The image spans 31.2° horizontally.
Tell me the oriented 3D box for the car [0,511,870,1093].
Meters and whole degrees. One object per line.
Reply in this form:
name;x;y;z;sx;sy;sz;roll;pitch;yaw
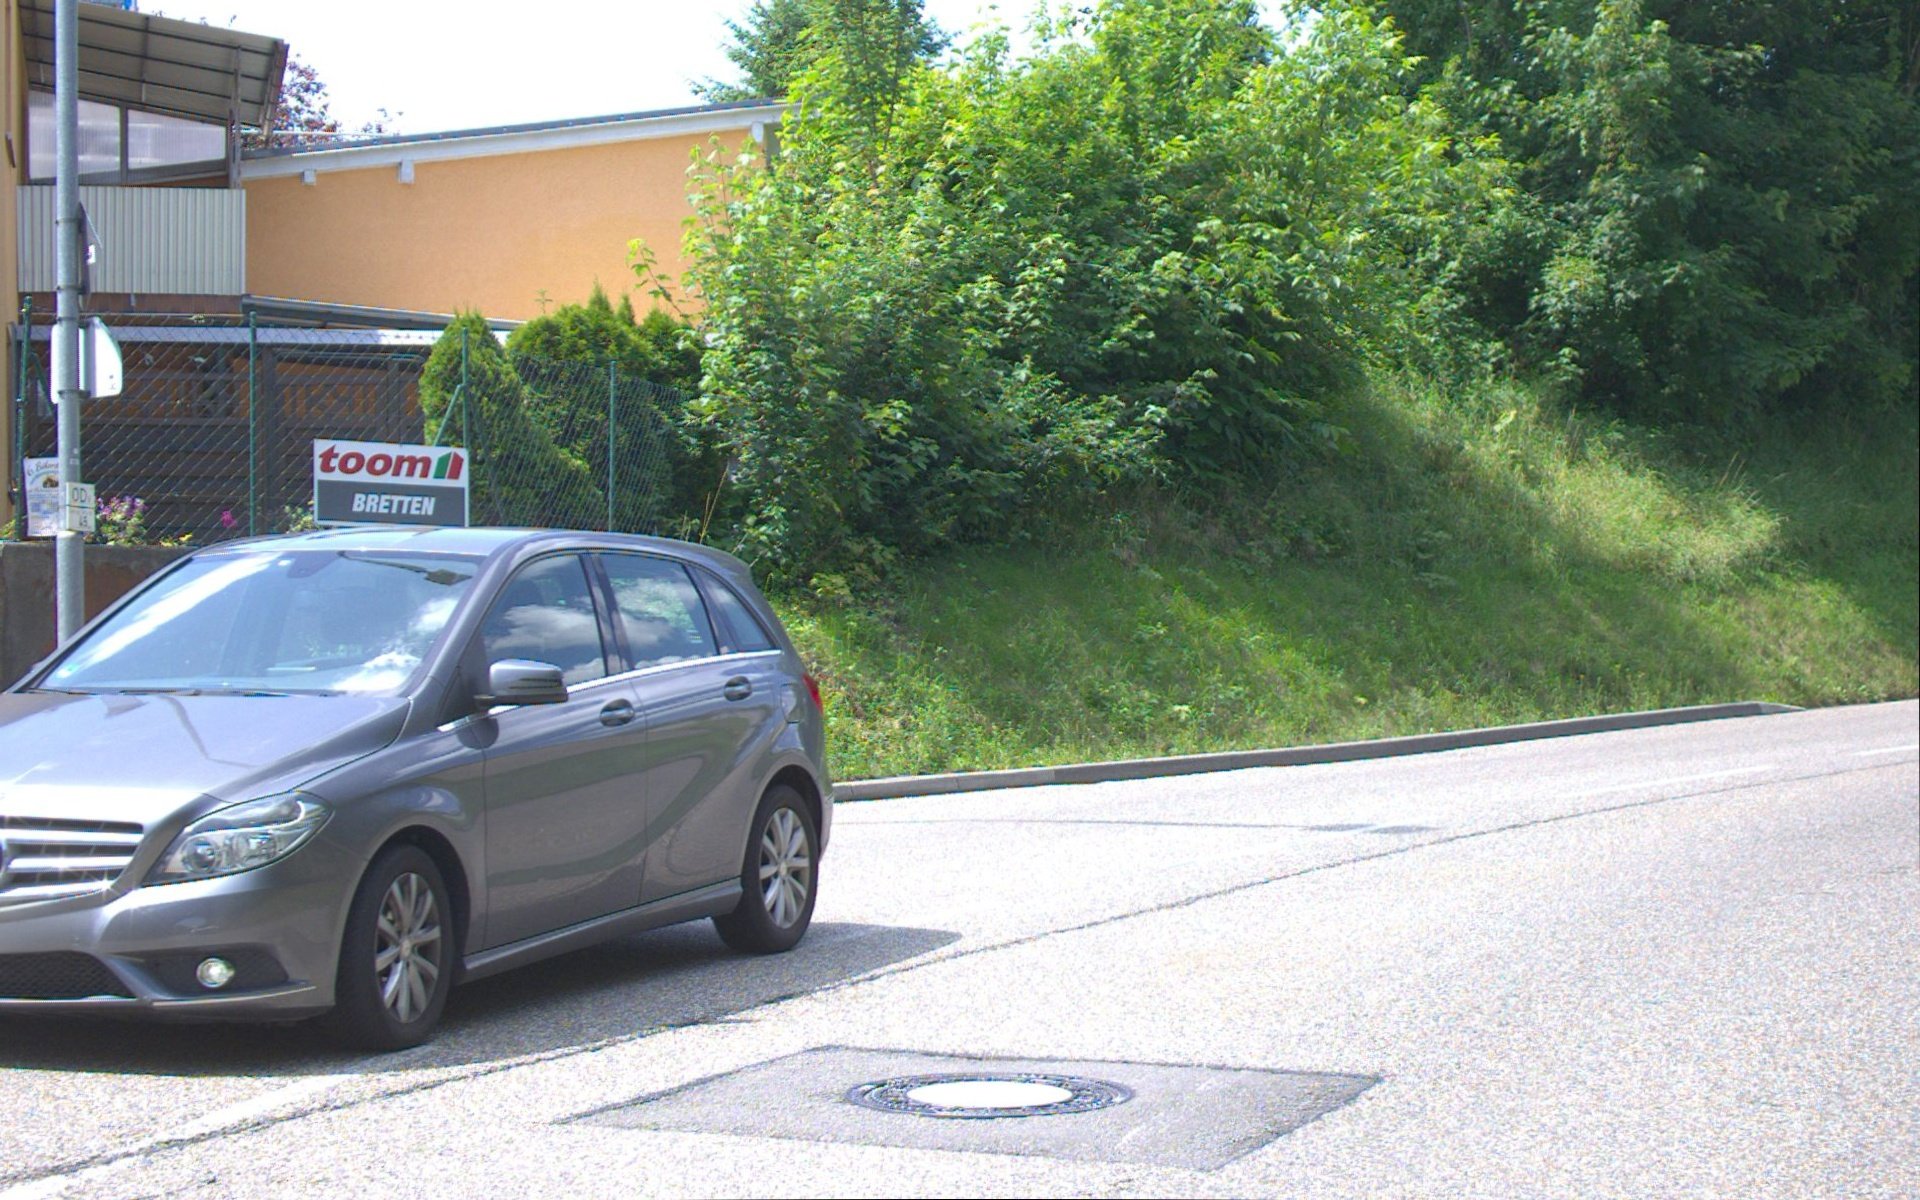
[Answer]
car;-1.947;0.499;11.400;1.720;1.550;4.124;1;1;23
